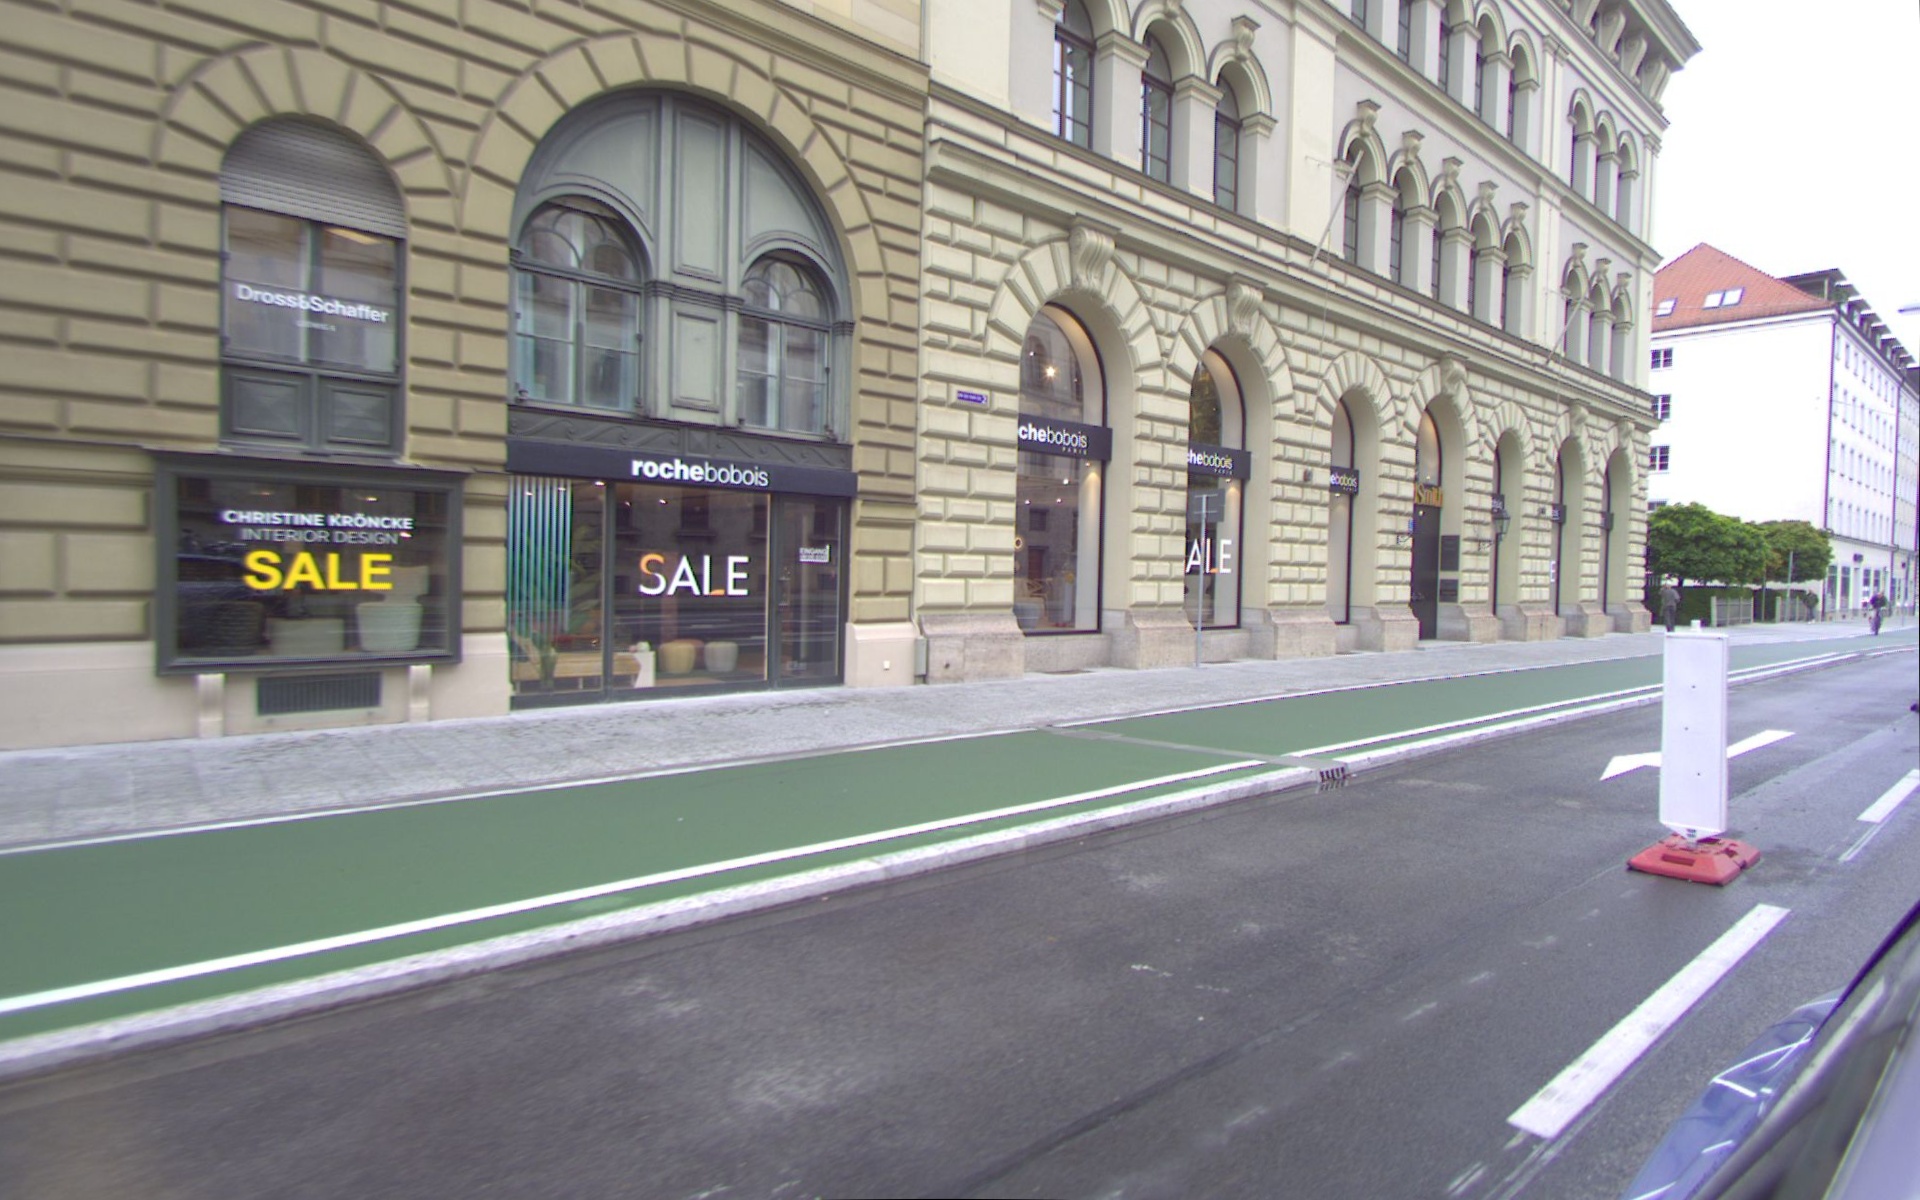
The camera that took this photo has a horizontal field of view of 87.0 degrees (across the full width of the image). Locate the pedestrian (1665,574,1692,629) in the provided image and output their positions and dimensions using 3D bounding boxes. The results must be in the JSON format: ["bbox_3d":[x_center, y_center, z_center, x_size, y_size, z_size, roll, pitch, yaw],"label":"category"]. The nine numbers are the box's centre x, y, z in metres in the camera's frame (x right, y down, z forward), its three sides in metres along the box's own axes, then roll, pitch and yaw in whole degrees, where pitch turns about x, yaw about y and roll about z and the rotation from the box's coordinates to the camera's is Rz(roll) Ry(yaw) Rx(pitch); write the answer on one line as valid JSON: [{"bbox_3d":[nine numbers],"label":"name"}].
[{"bbox_3d":[23.452,0.035,33.029,0.630,1.725,1.072,3,2,35],"label":"pedestrian"}]

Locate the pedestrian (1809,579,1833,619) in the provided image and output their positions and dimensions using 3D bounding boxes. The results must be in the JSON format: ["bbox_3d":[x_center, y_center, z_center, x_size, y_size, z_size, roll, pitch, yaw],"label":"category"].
[{"bbox_3d":[41.680,-0.065,48.999,0.811,1.897,0.655,0,3,-40],"label":"pedestrian"}]

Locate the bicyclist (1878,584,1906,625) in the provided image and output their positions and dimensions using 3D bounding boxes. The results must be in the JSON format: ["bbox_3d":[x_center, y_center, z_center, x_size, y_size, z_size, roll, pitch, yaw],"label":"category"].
[{"bbox_3d":[36.295,0.181,39.413,0.843,1.572,0.723,0,0,-41],"label":"bicyclist"}]

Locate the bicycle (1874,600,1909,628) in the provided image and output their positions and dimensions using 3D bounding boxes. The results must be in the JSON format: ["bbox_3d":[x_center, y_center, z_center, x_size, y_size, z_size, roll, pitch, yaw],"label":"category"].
[{"bbox_3d":[36.288,0.537,39.409,2.487,1.045,0.750,0,1,-41],"label":"bicycle"}]
